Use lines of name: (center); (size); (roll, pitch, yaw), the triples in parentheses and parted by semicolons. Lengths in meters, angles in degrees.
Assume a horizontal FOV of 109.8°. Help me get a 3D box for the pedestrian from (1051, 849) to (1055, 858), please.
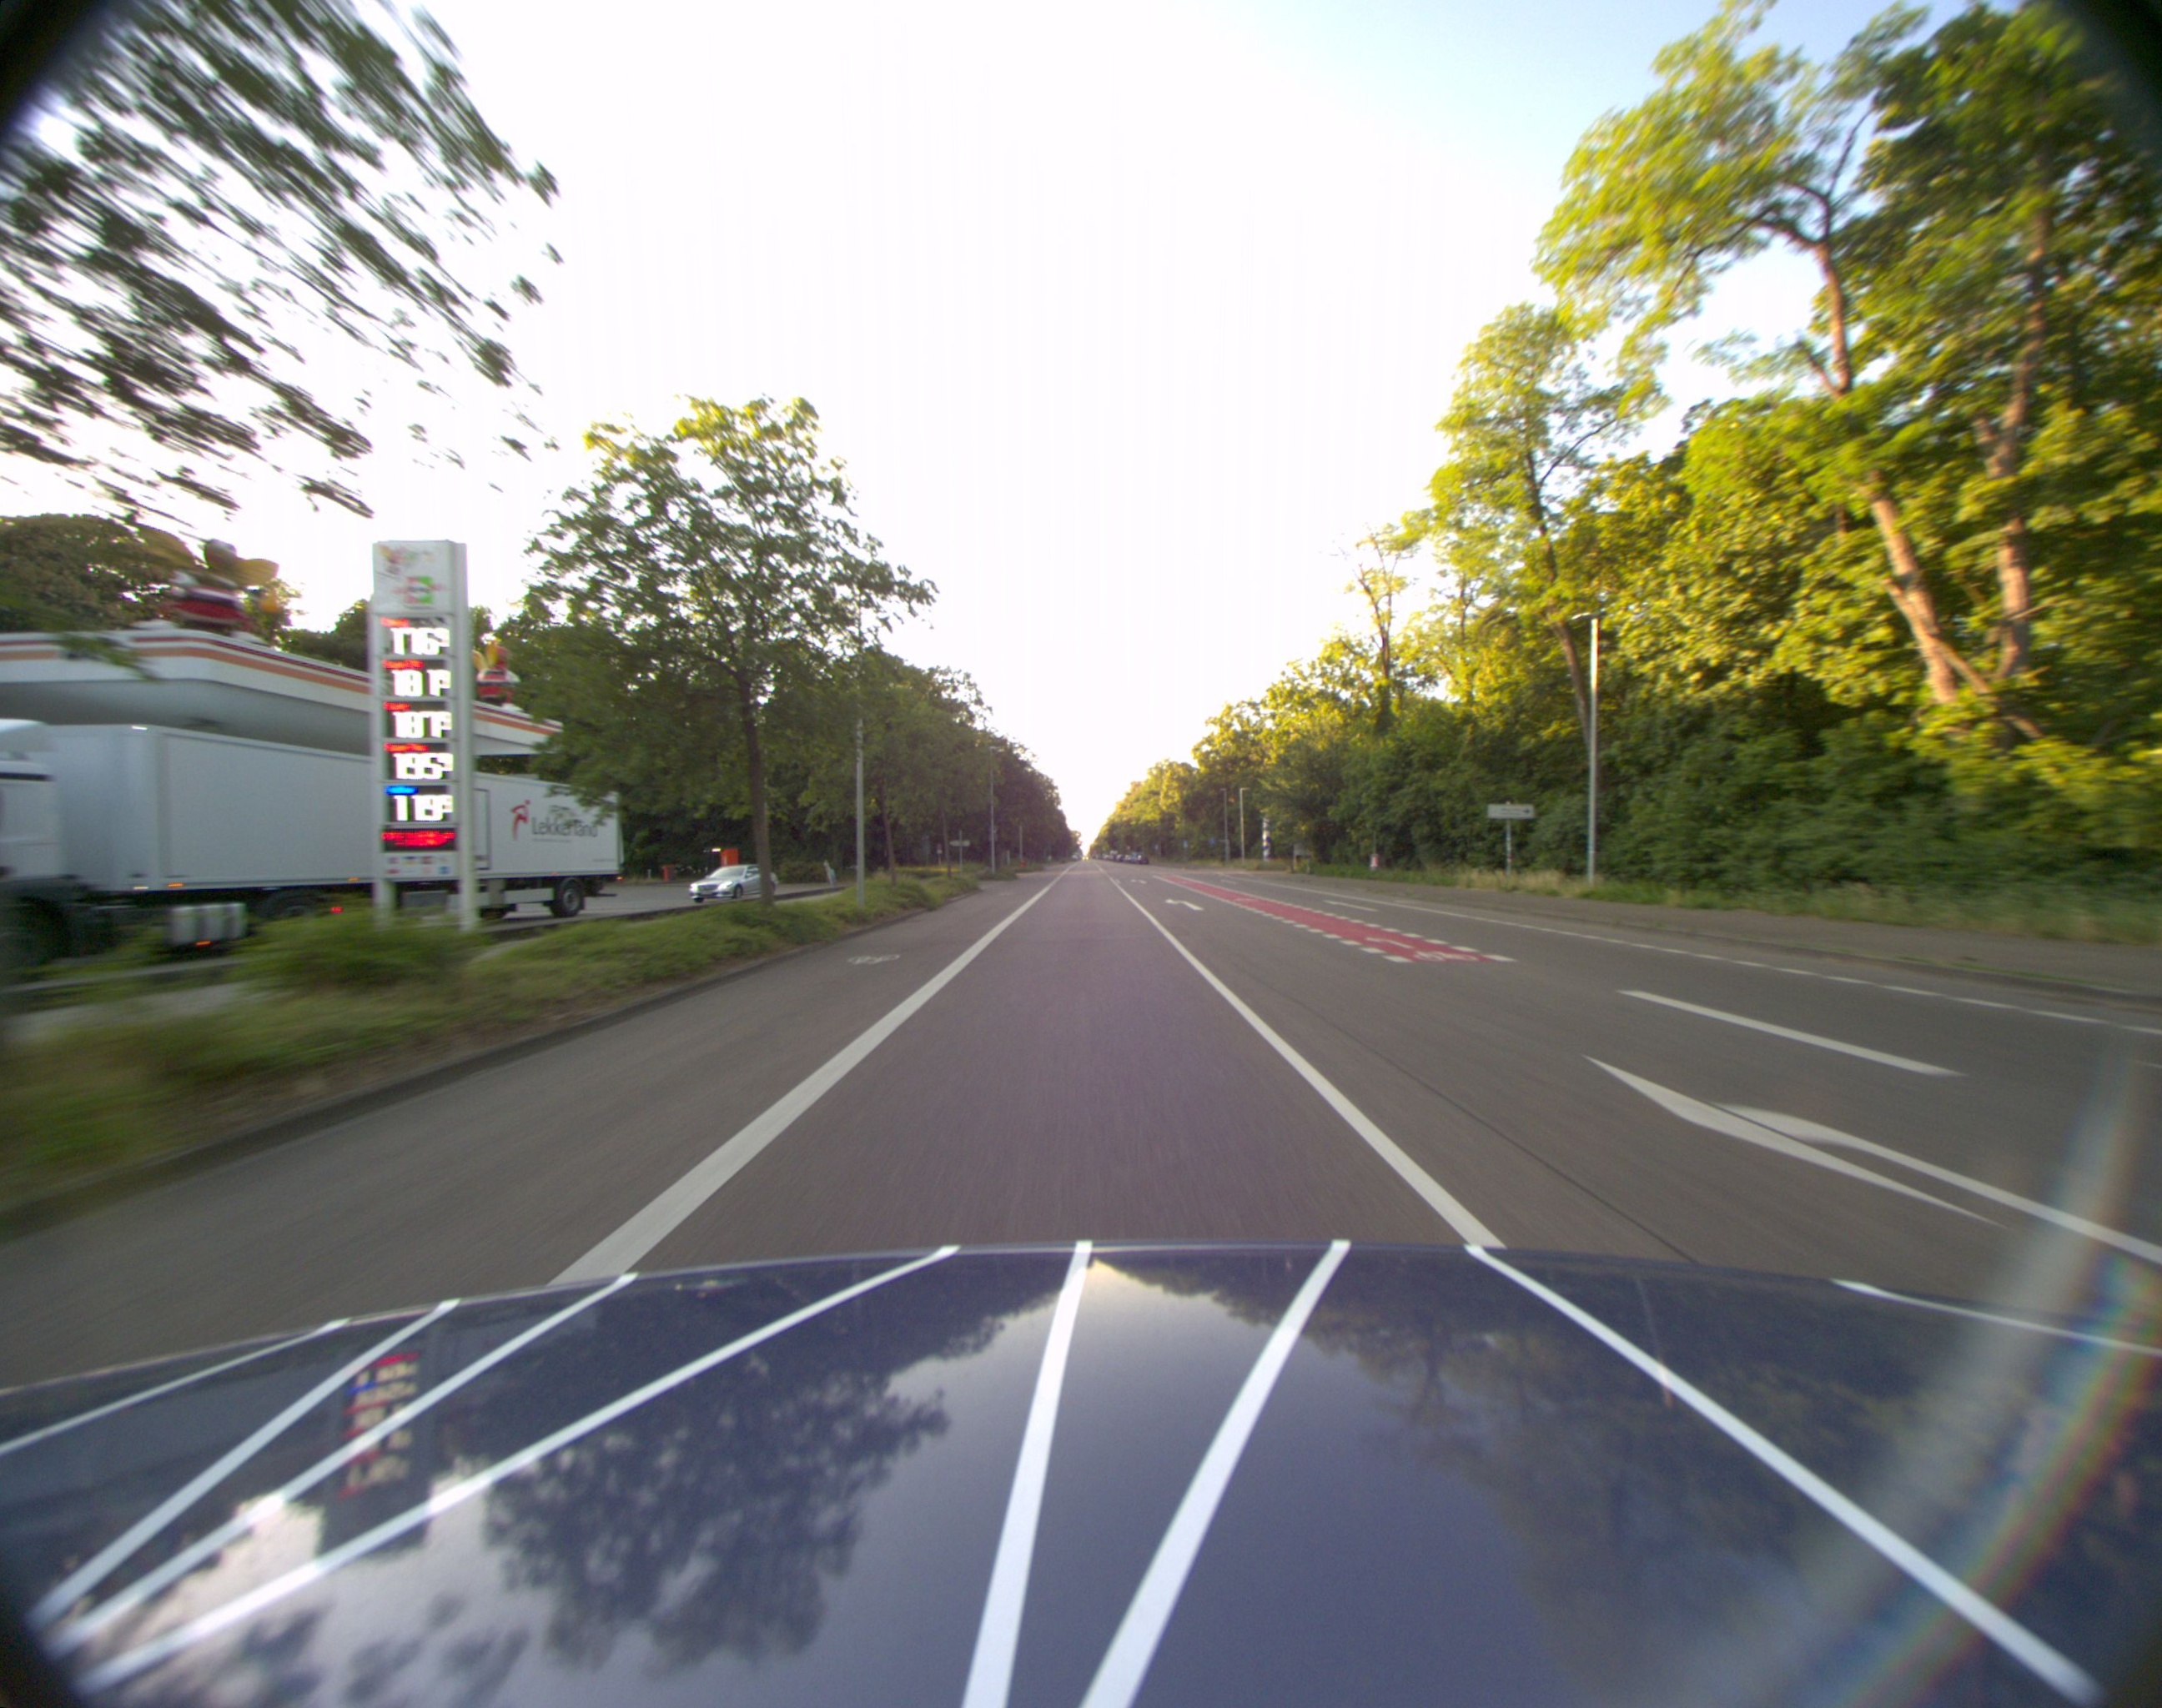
pedestrian: (-5.602, -0.075, 152.236); (0.840, 1.741, 0.726); (-1, 0, 1)

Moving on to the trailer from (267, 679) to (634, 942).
trailer: (-15.483, -0.903, 19.836); (3.028, 5.430, 7.932); (-1, 0, -2)

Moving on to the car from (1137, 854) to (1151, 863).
car: (10.640, 0.782, 127.970); (1.692, 1.453, 4.241); (1, 0, -5)

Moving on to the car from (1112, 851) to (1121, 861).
car: (9.170, 0.485, 197.280); (2.084, 2.591, 7.089); (2, 0, 0)

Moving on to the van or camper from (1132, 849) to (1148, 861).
van or camper: (10.386, 0.234, 133.694); (2.037, 2.082, 5.012); (1, 0, -3)

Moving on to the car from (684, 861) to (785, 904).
car: (-14.646, 1.151, 32.462); (1.773, 1.574, 4.820); (-2, 0, 4)

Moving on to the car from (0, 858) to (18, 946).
car: (-23.796, 1.084, 13.932); (1.876, 1.855, 4.675); (-1, 2, 1)

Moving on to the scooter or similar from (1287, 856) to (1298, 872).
scooter or similar: (15.068, 0.688, 54.053); (0.360, 1.103, 0.881); (-1, 1, 43)

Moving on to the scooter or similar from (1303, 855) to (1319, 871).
scooter or similar: (15.290, 0.574, 50.432); (0.901, 1.062, 0.495); (-1, 1, -24)

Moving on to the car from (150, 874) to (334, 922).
car: (-29.908, 1.530, 27.300); (4.139, 1.513, 1.669); (0, 1, -33)

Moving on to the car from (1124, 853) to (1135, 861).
car: (9.213, 0.531, 144.432); (1.621, 1.525, 4.038); (1, 0, -5)

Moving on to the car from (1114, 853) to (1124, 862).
car: (7.950, 0.699, 158.458); (1.749, 1.702, 4.522); (1, 0, -1)

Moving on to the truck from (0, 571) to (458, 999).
truck: (-15.273, -0.843, 12.577); (3.041, 5.423, 8.408); (-1, 0, -2)

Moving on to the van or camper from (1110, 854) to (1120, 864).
van or camper: (7.712, 1.141, 173.501); (2.008, 2.006, 5.460); (1, 0, -2)
